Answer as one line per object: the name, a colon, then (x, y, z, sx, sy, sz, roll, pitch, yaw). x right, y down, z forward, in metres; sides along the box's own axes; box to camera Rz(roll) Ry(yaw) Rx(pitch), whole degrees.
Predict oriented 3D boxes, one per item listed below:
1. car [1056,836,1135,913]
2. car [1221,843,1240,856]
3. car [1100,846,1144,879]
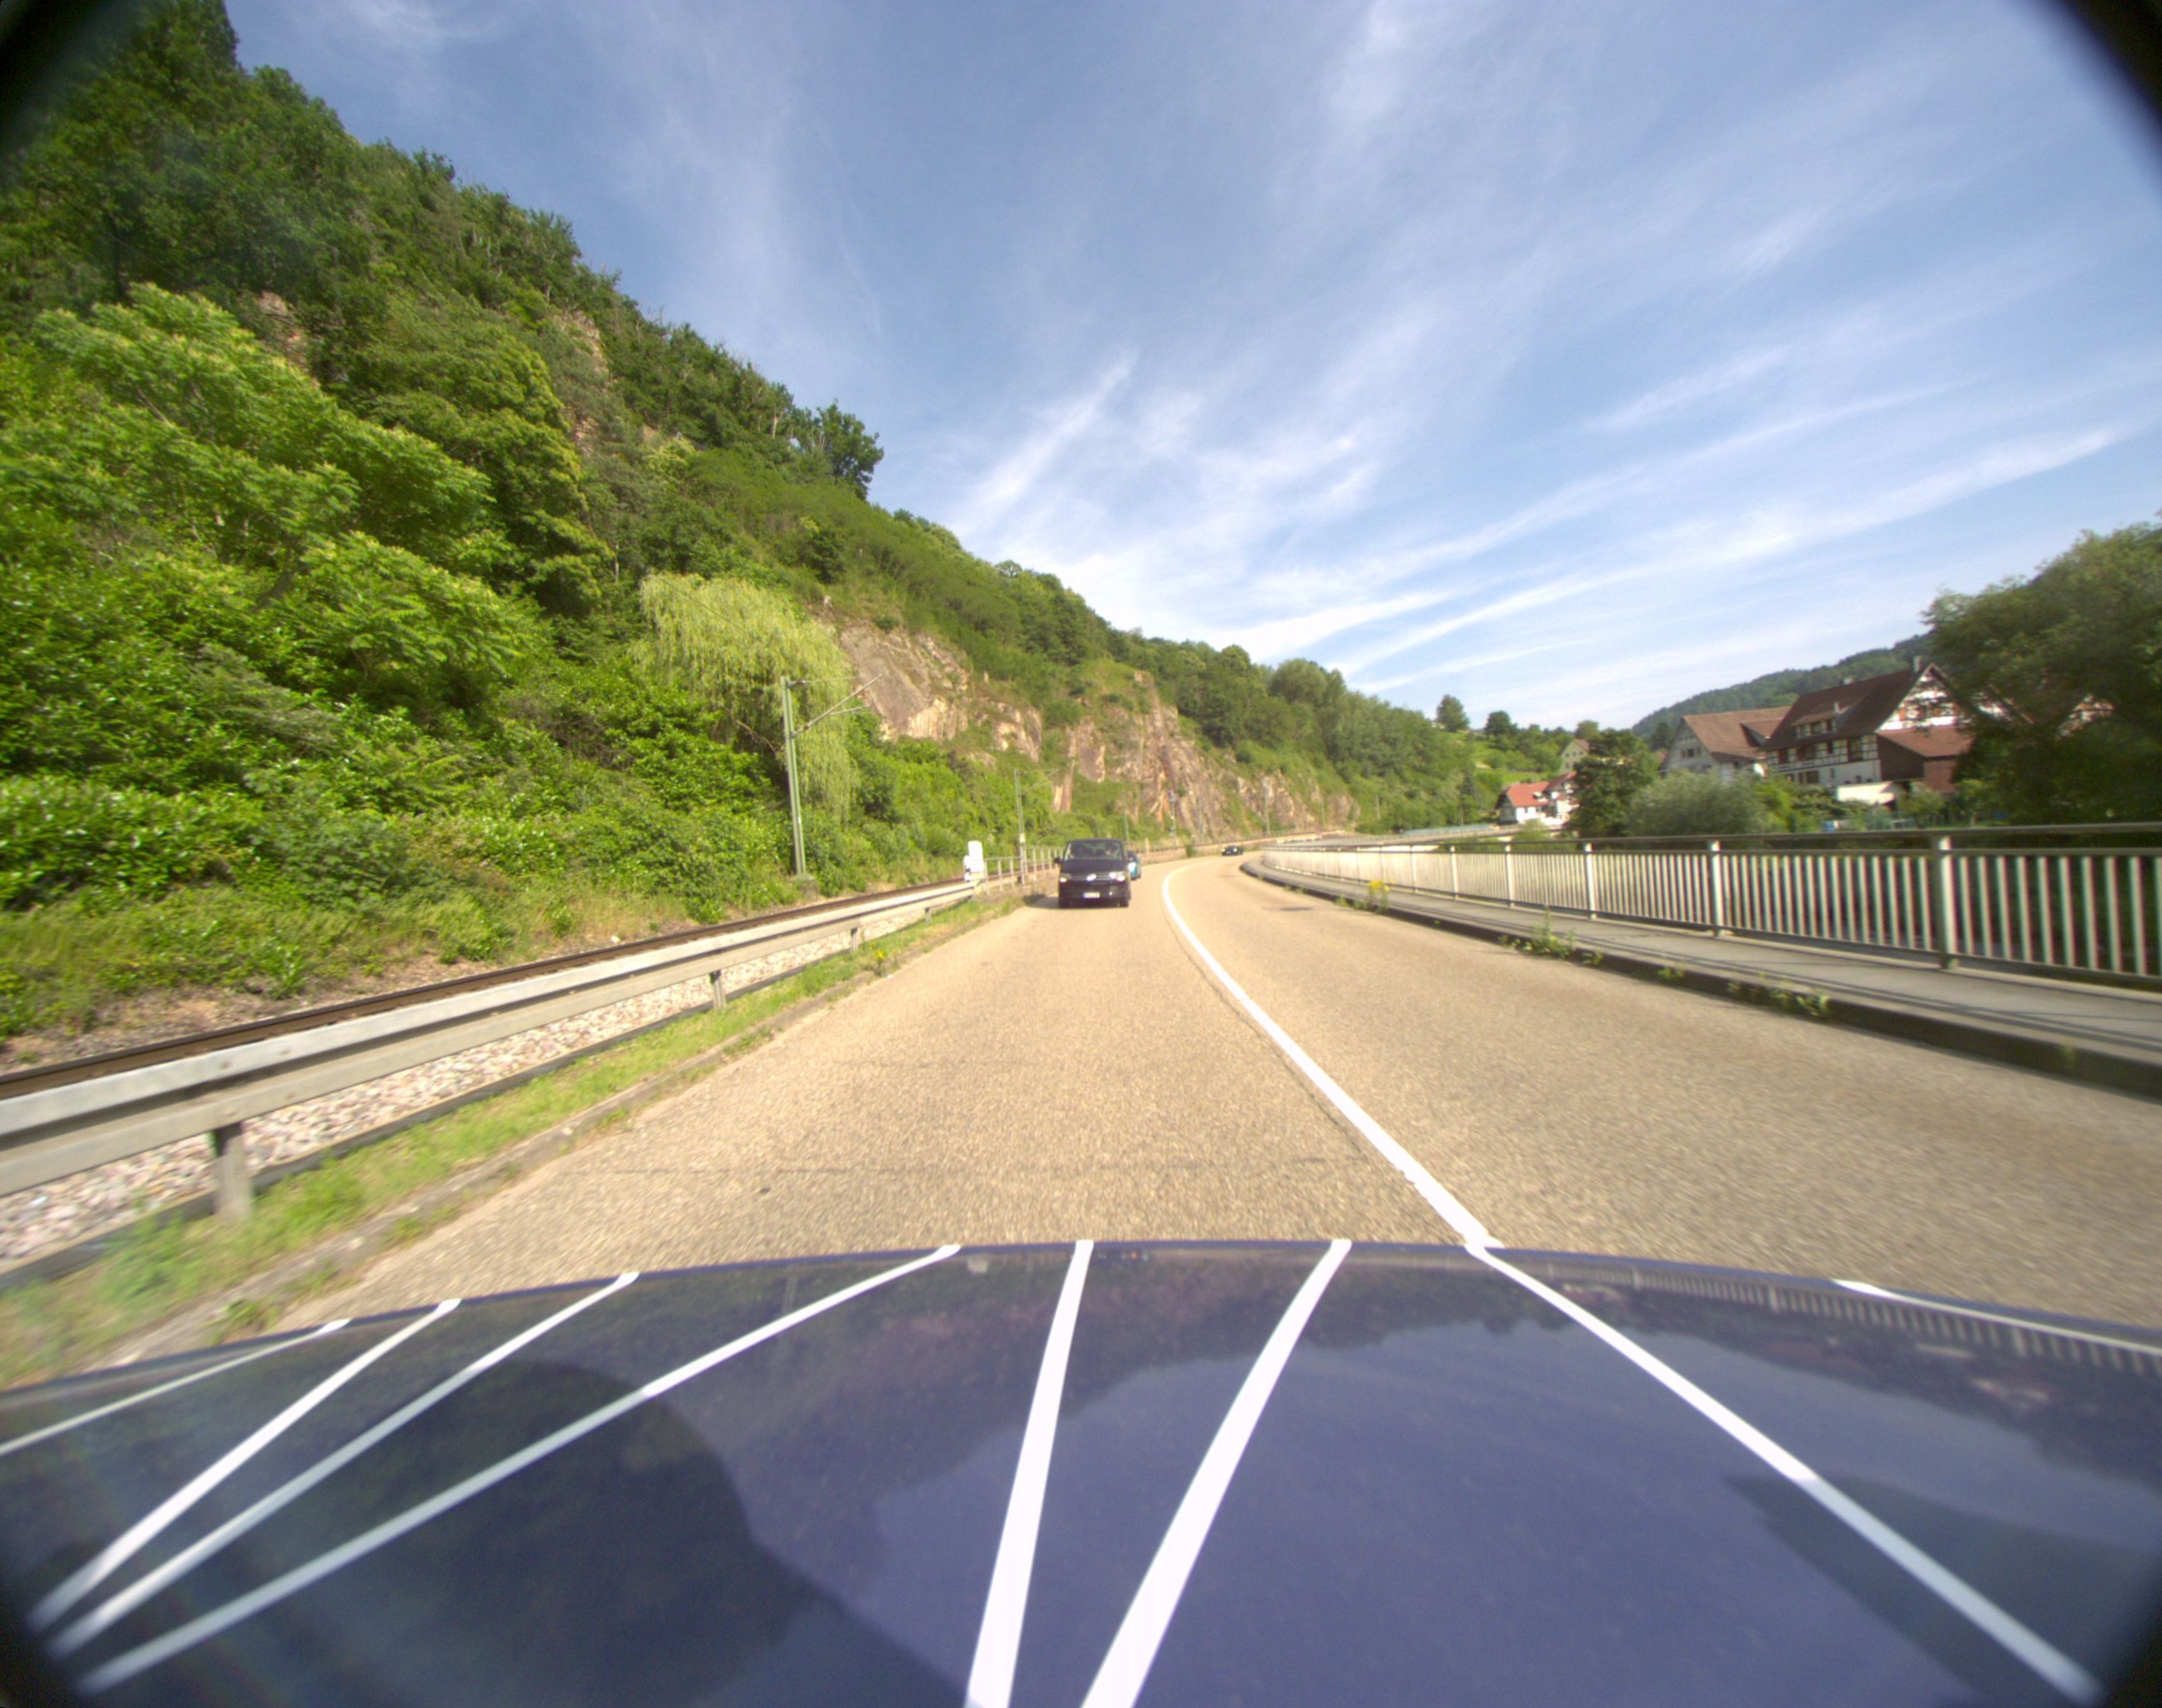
car: (0.557, 0.490, 22.093, 1.887, 1.952, 4.867, -1, 1, 5)
car: (17.868, -0.535, 90.832, 1.701, 1.513, 3.477, 2, 1, 20)
car: (2.148, 0.411, 39.073, 1.681, 1.513, 3.868, -3, 1, 10)
